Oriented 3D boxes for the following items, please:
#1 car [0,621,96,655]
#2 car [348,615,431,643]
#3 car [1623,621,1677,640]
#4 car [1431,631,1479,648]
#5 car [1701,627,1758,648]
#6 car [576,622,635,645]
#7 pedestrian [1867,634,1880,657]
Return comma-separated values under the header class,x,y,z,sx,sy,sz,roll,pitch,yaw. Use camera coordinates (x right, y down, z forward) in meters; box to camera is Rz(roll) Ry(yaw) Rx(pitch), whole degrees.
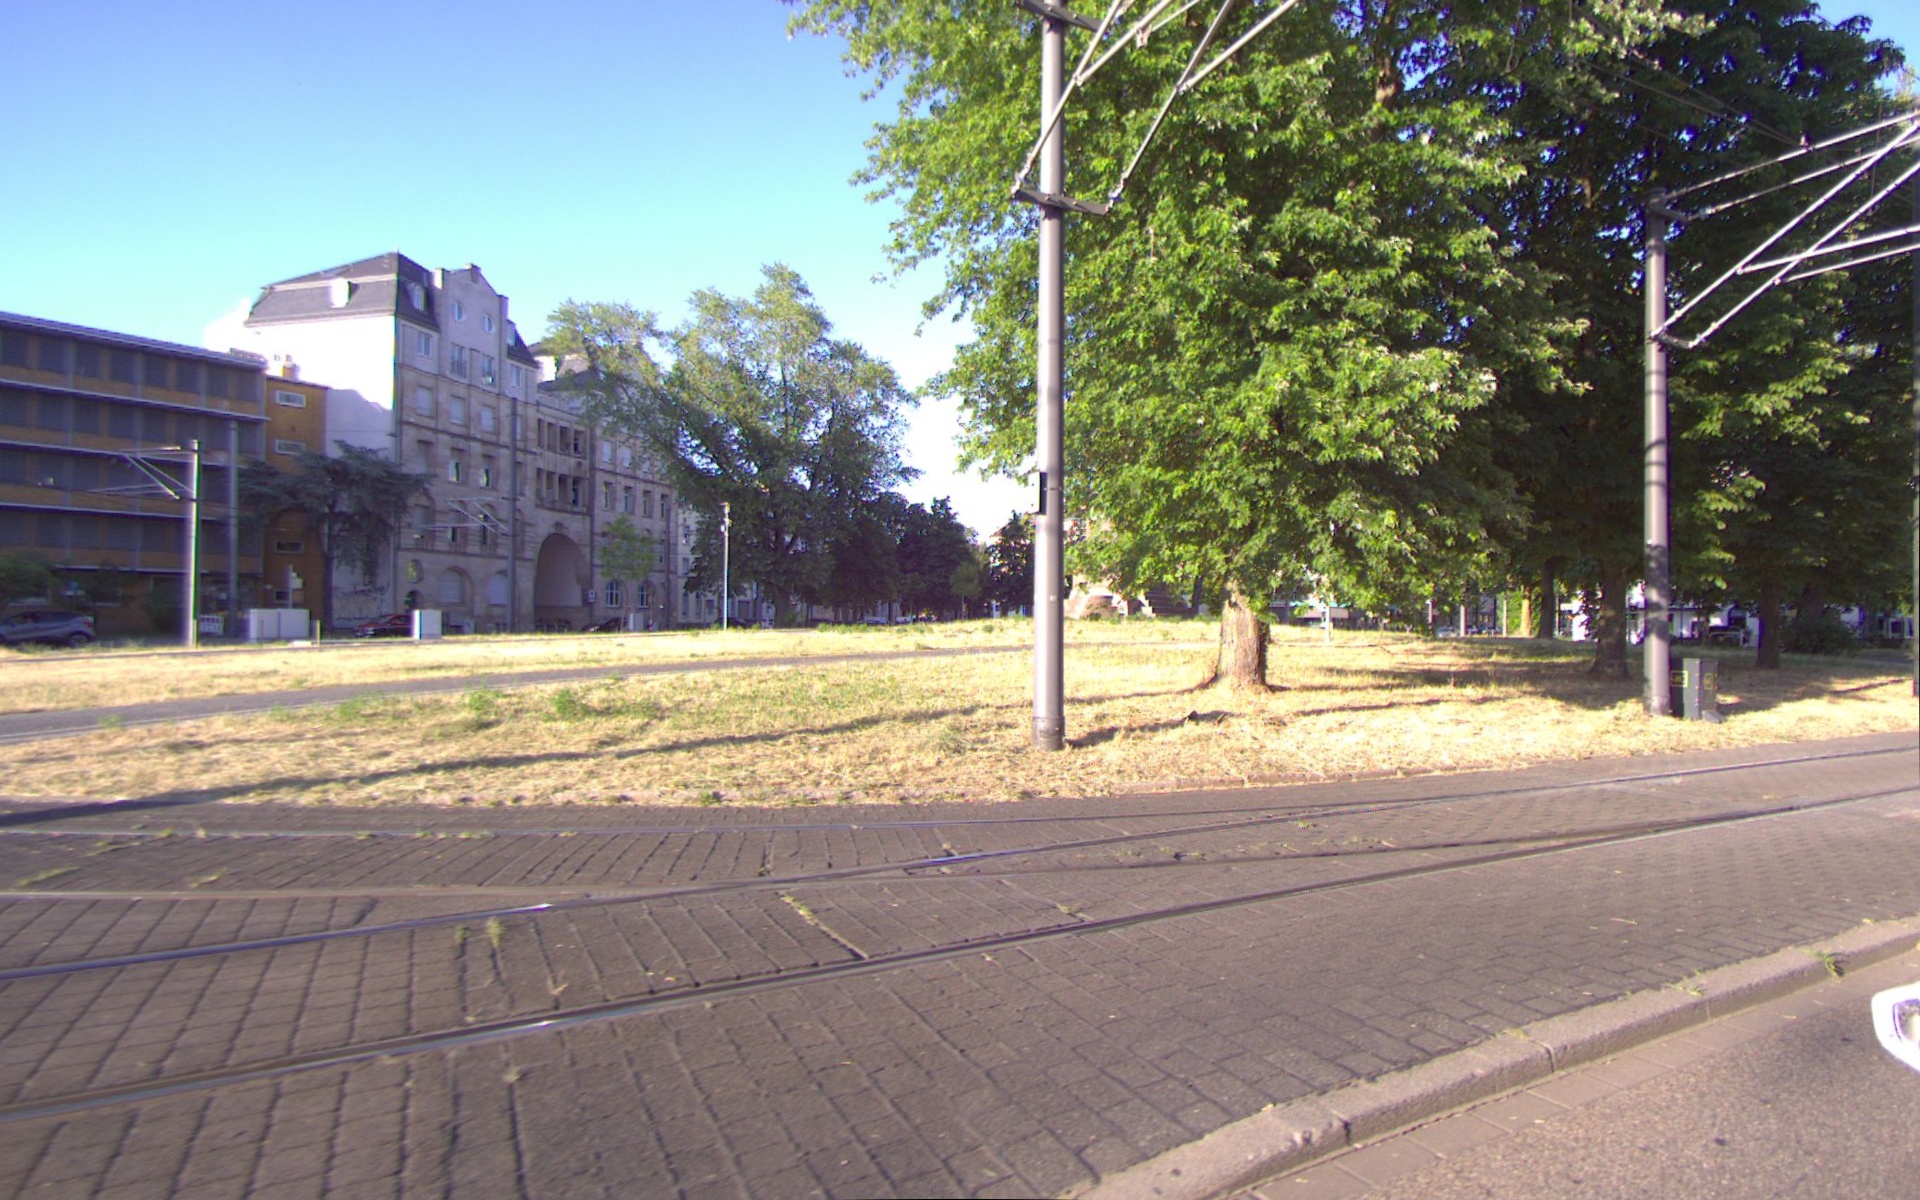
class,x,y,z,sx,sy,sz,roll,pitch,yaw
car,-36.092,1.452,38.902,1.545,1.275,3.716,0,-1,35
car,-29.536,1.477,52.084,1.526,1.372,3.516,1,0,27
car,57.739,2.537,84.048,3.569,1.572,1.655,0,-1,39
car,47.402,3.756,96.284,3.875,1.482,1.593,1,-1,17
car,61.816,2.985,80.711,3.569,1.572,1.655,0,-1,39
car,-22.974,2.141,65.128,1.526,1.372,3.515,1,0,28
pedestrian,61.790,3.051,67.920,0.653,1.517,0.530,1,-1,-36
